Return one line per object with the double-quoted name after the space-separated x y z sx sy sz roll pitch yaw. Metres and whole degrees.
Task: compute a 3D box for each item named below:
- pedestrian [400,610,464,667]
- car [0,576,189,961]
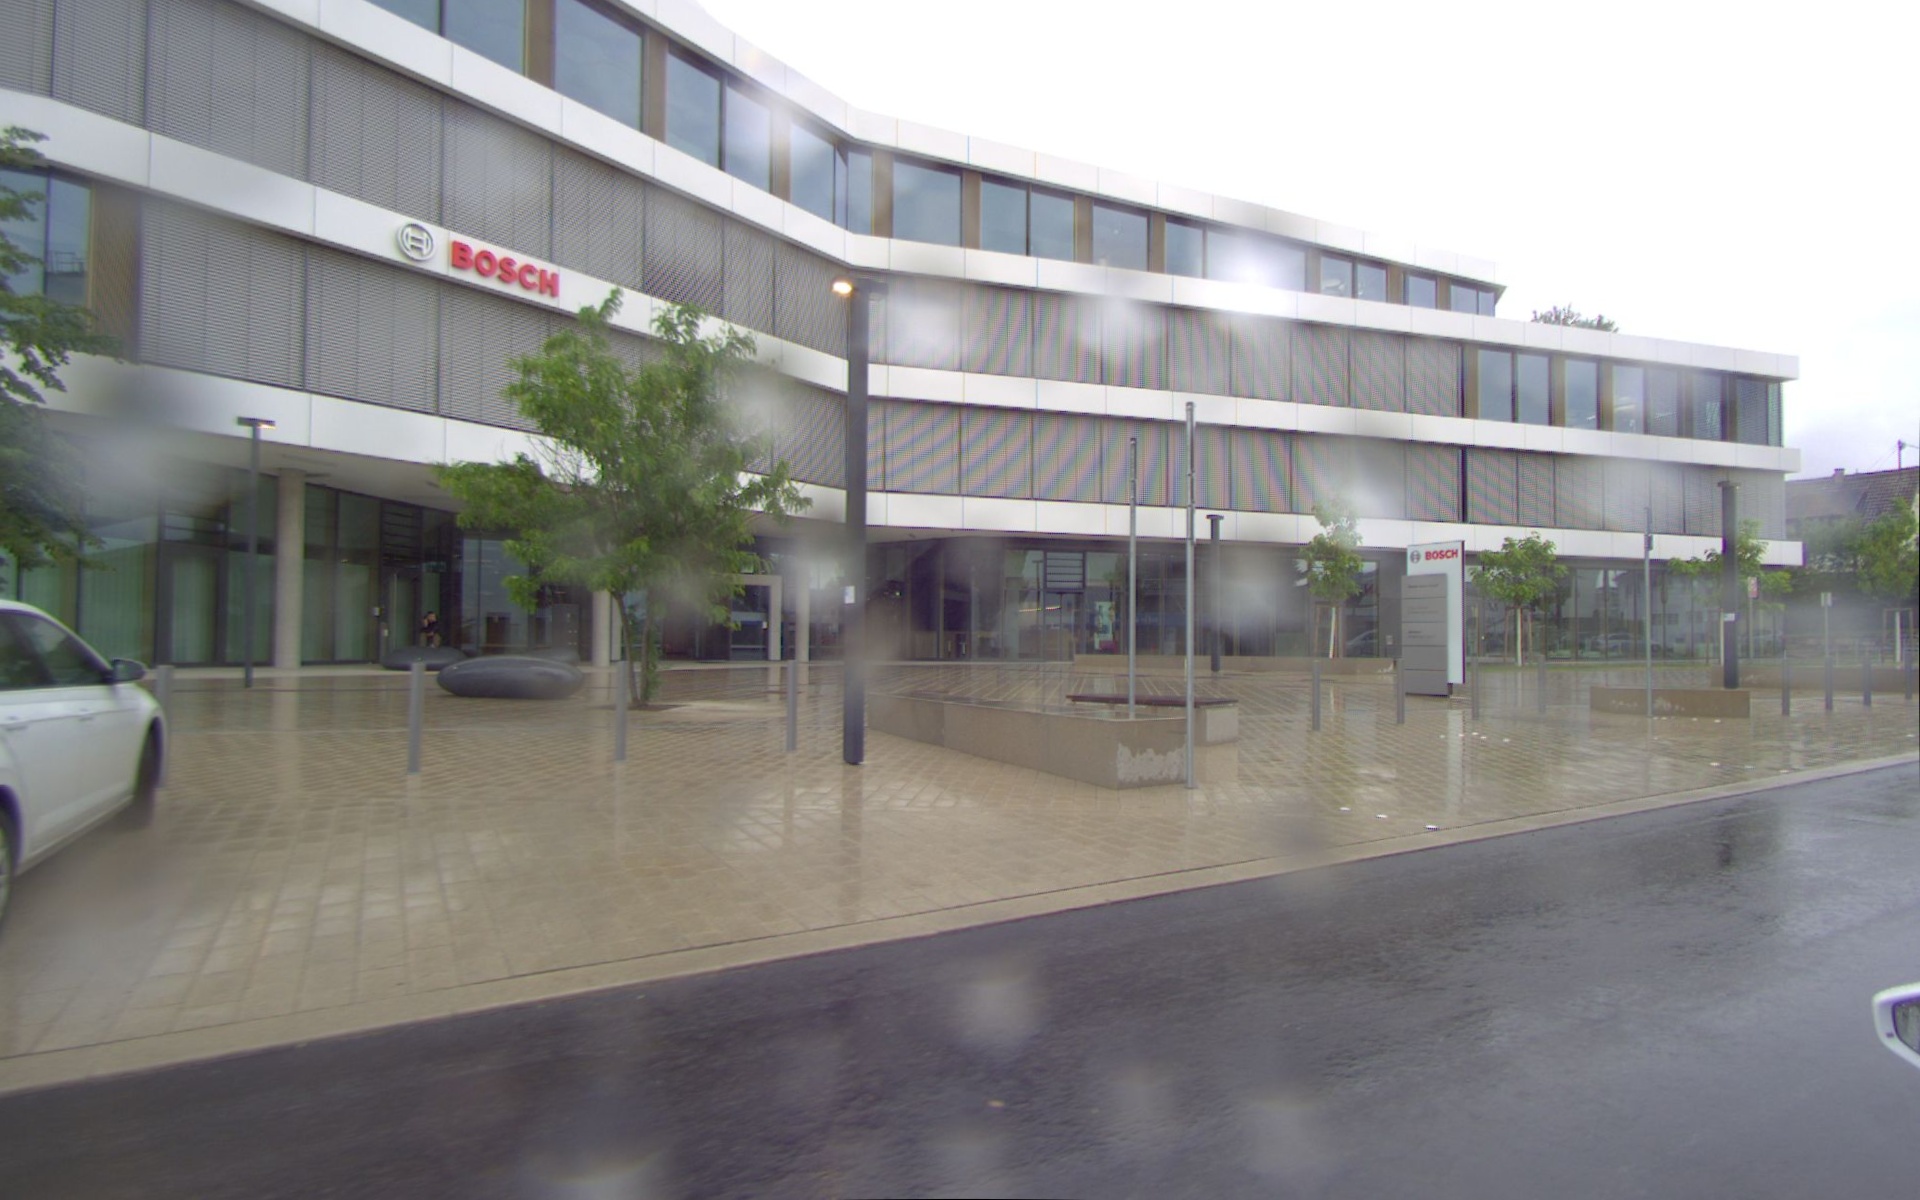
-13.184 0.962 25.099 0.883 1.332 1.059 4 1 33 "pedestrian"
-5.202 0.657 4.747 1.875 1.442 3.911 1 -2 -29 "car"
